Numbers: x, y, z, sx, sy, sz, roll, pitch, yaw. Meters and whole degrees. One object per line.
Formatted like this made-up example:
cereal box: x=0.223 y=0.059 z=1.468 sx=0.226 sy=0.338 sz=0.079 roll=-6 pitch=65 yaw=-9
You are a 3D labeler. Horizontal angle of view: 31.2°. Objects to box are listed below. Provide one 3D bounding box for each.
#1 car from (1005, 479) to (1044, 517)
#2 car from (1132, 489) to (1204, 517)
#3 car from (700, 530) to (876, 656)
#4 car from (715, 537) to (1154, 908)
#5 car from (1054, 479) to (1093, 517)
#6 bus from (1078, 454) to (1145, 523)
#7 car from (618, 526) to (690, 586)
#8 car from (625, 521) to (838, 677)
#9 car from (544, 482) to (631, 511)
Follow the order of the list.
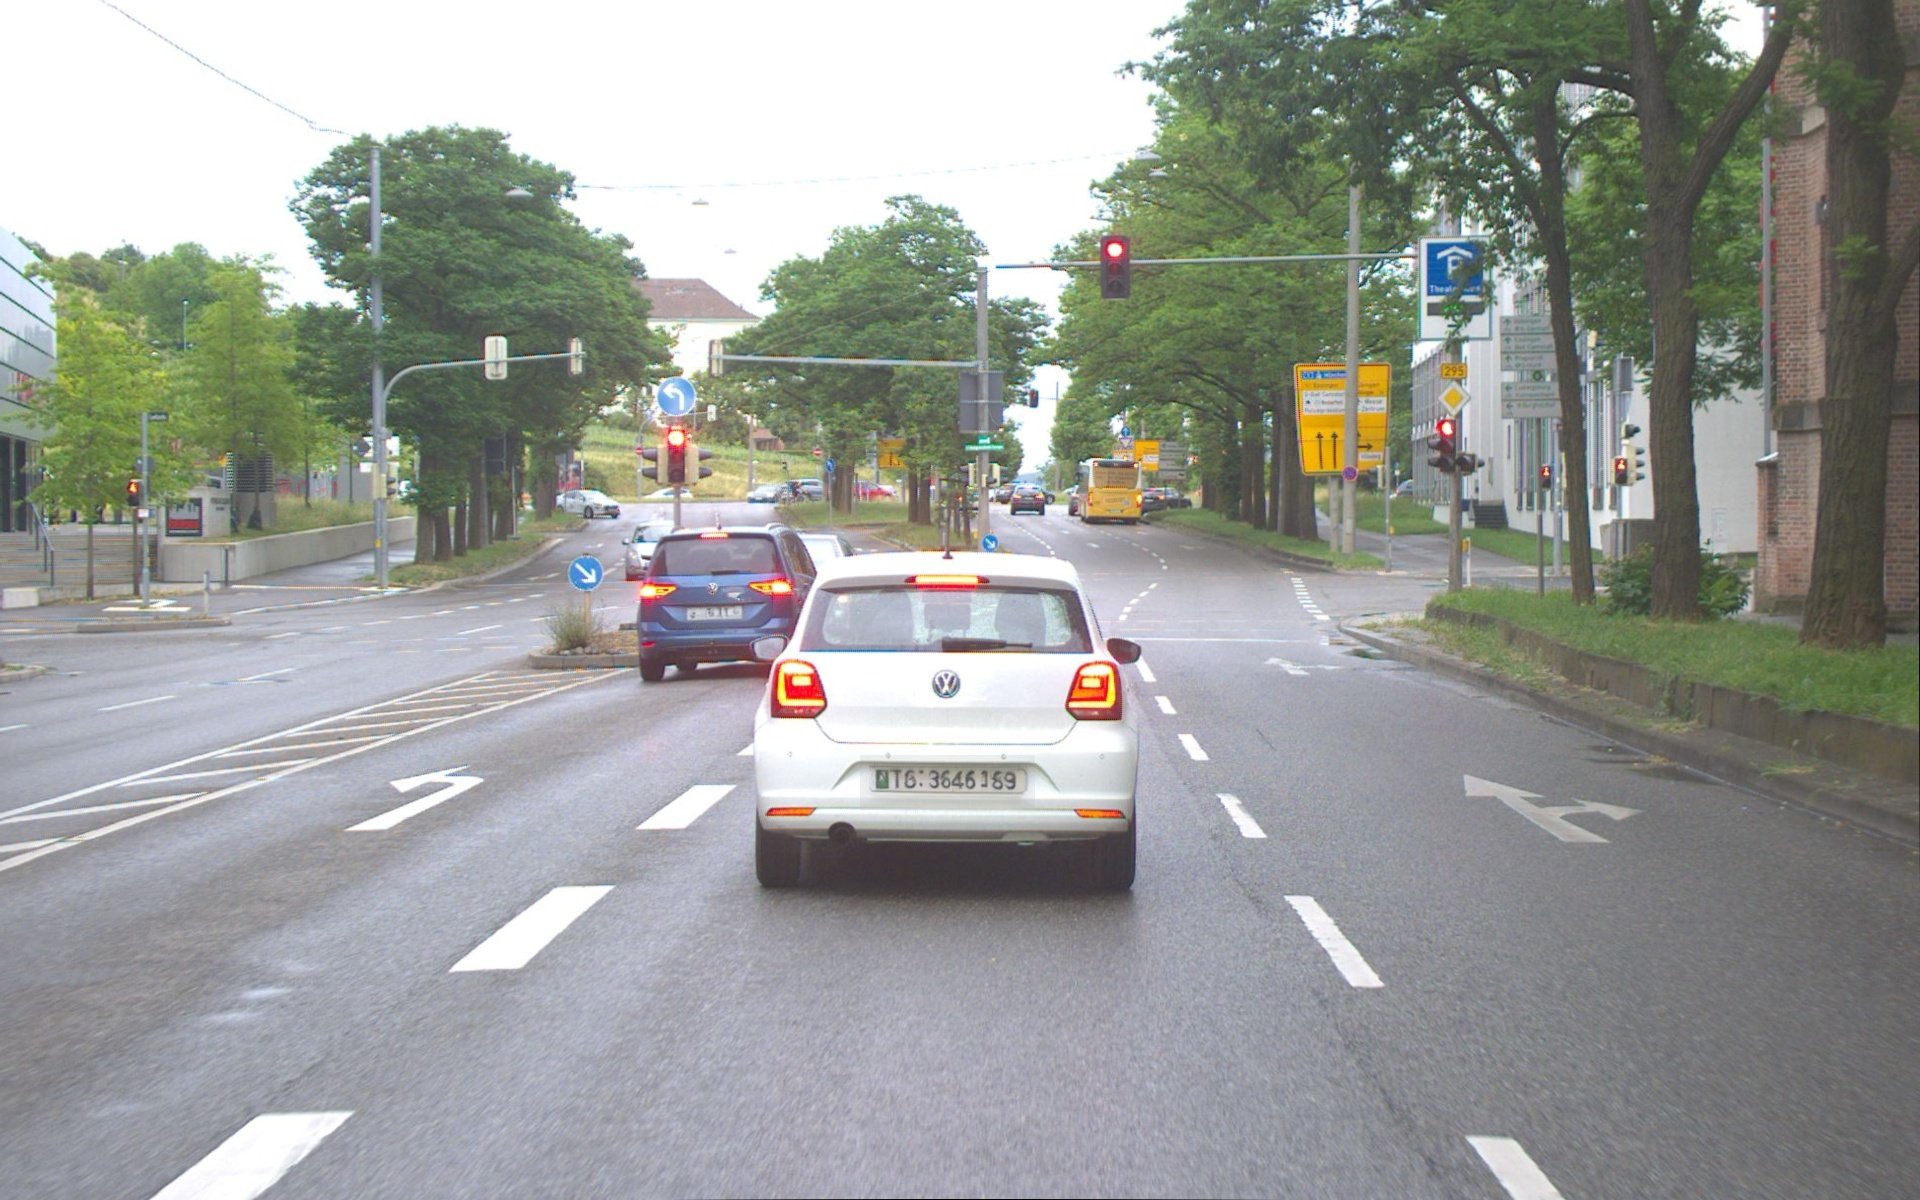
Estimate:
car: x=3.469 y=-5.474 z=185.485 sx=1.993 sy=2.007 sz=4.000 roll=0 pitch=1 yaw=0
car: x=11.189 y=-5.203 z=184.799 sx=3.817 sy=1.510 sz=1.699 roll=-2 pitch=2 yaw=-44
car: x=-2.176 y=-0.126 z=44.528 sx=1.847 sy=1.505 sz=4.048 roll=-1 pitch=1 yaw=3
car: x=-0.053 y=0.465 z=16.106 sx=1.794 sy=1.497 sz=4.000 roll=0 pitch=1 yaw=2
car: x=6.126 y=-5.472 z=185.472 sx=1.993 sy=2.007 sz=4.000 roll=0 pitch=1 yaw=0
bus: x=7.291 y=-5.454 z=166.728 sx=2.828 sy=3.255 sz=10.001 roll=0 pitch=2 yaw=0
car: x=-8.304 y=-1.209 z=93.456 sx=1.750 sy=1.515 sz=3.818 roll=-1 pitch=2 yaw=-2
car: x=-2.442 y=-0.053 z=37.688 sx=1.772 sy=1.591 sz=4.197 roll=-1 pitch=1 yaw=4
car: x=-19.842 y=-5.485 z=182.845 sx=4.651 sy=1.406 sz=1.816 roll=0 pitch=3 yaw=39
